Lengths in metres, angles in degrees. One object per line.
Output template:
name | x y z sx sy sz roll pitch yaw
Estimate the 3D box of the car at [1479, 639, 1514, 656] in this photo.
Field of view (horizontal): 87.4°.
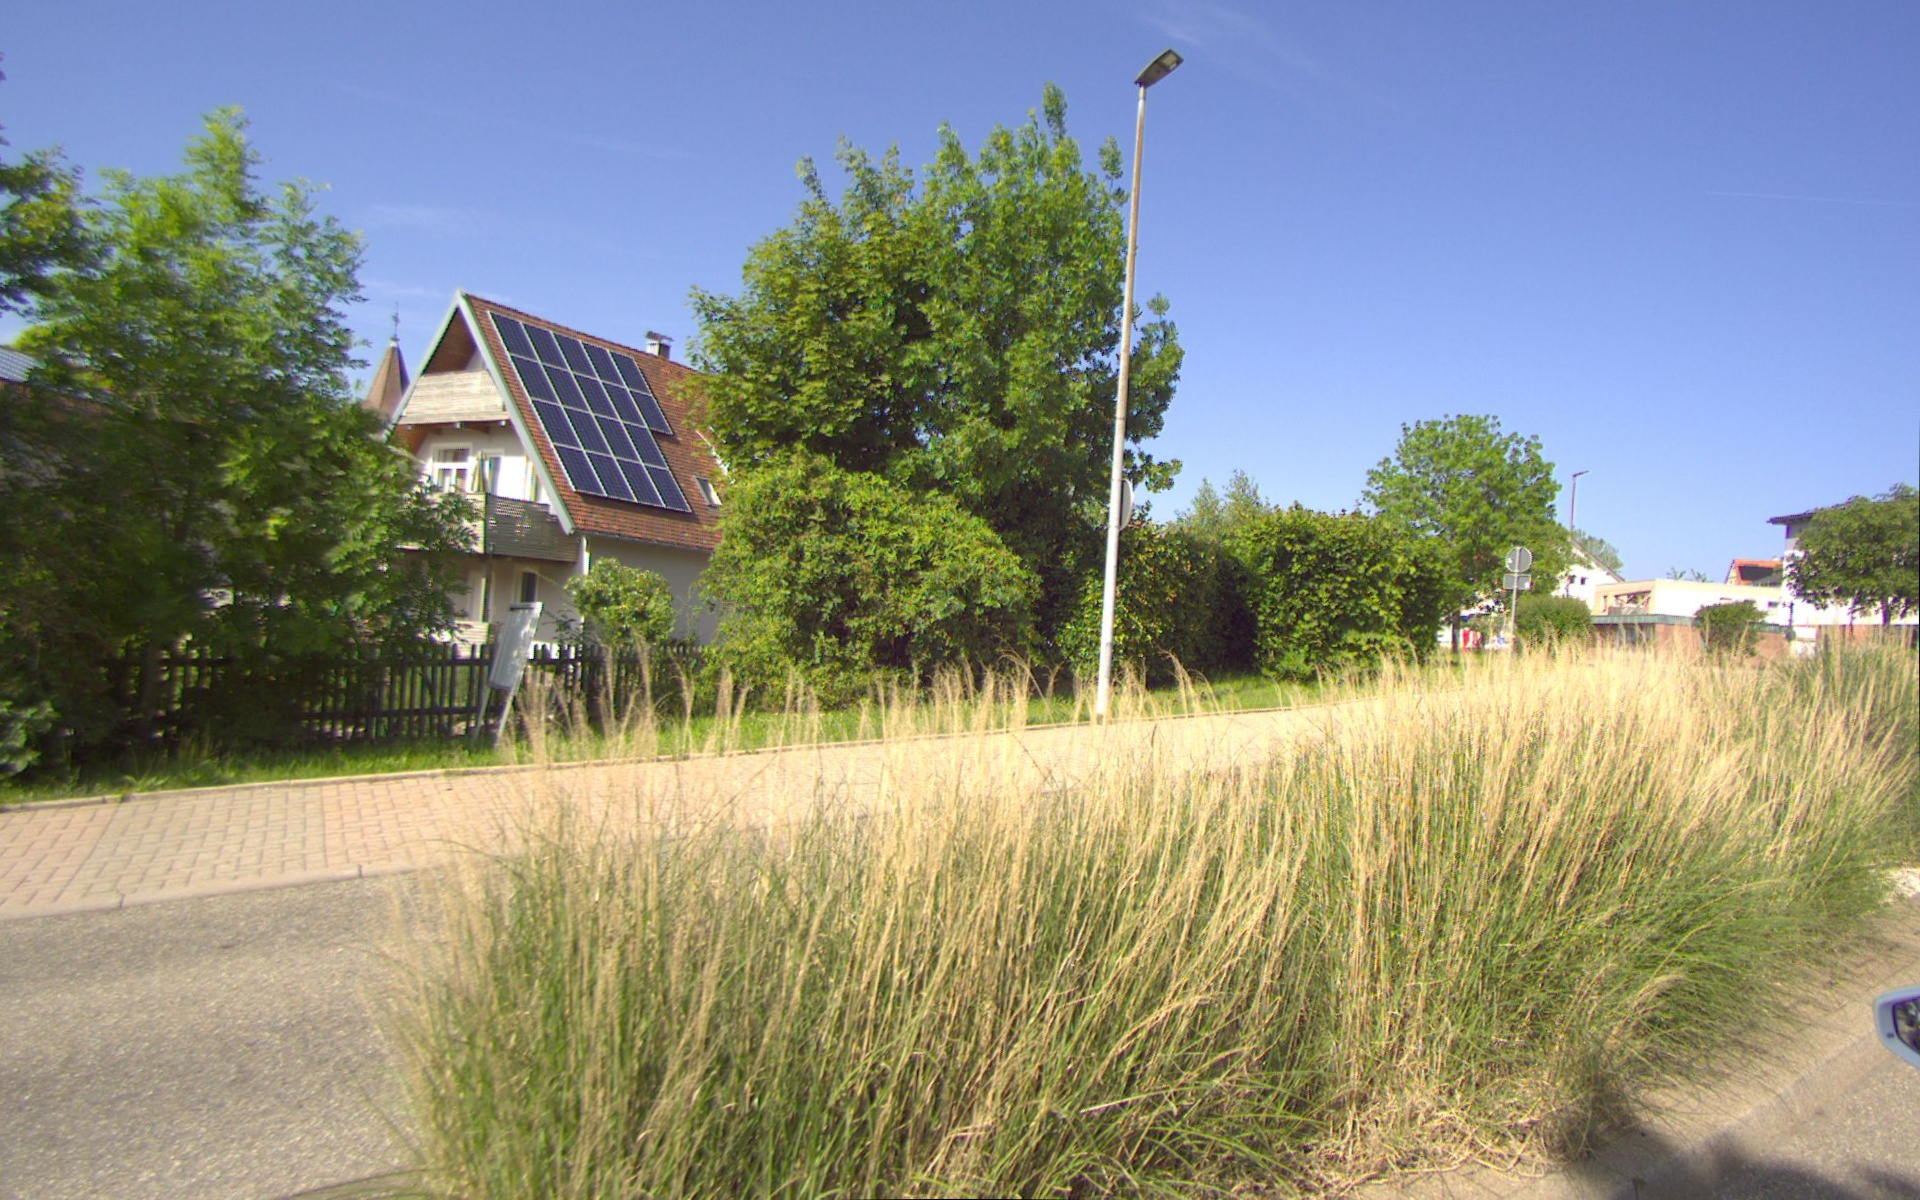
car | 50.303 4.473 94.250 1.730 1.442 3.636 2 -1 9
